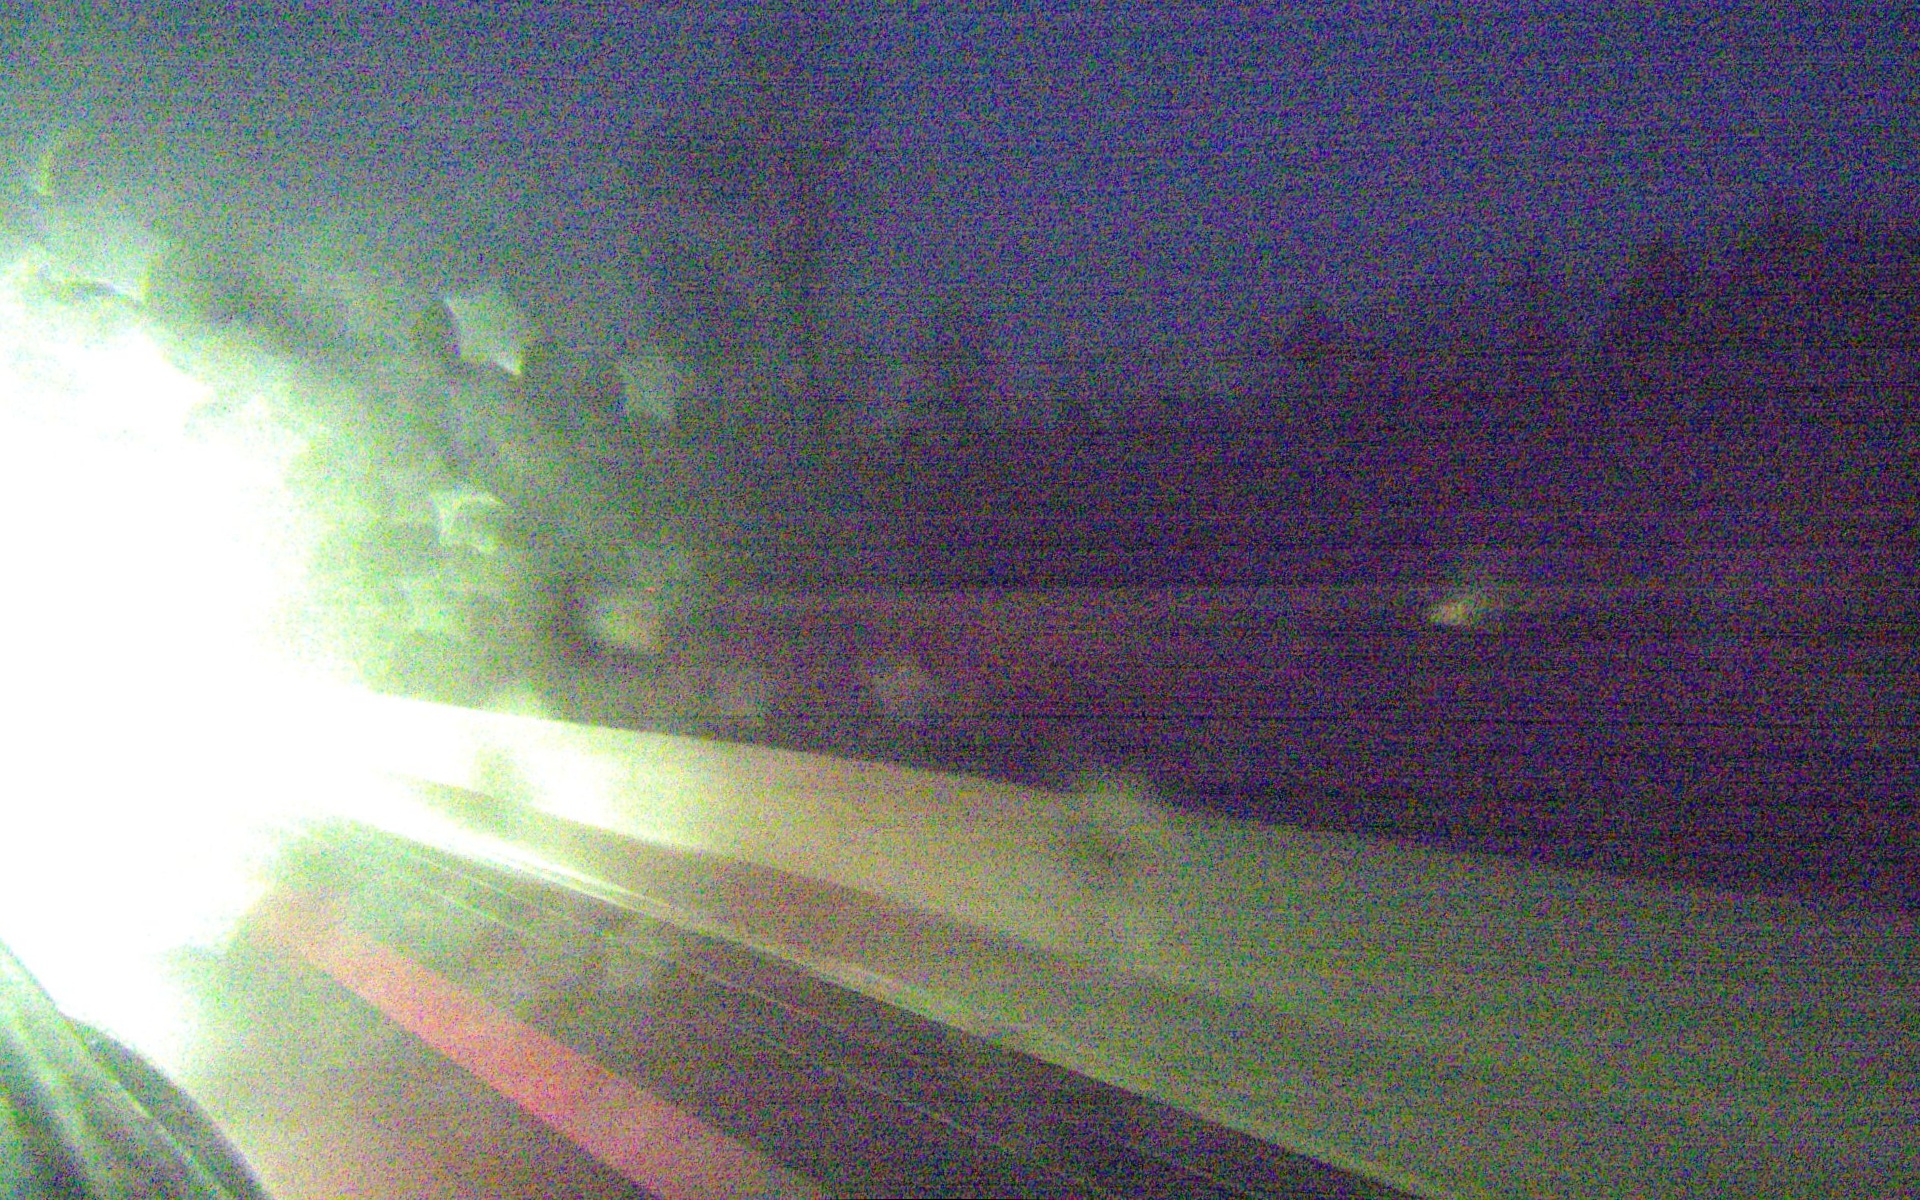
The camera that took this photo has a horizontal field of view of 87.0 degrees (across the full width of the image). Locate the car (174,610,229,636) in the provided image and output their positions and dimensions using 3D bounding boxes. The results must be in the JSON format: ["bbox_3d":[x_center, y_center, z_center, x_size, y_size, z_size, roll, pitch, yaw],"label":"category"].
[{"bbox_3d":[-47.882,1.437,63.887,4.000,1.537,2.101,-1,1,43],"label":"car"}]
